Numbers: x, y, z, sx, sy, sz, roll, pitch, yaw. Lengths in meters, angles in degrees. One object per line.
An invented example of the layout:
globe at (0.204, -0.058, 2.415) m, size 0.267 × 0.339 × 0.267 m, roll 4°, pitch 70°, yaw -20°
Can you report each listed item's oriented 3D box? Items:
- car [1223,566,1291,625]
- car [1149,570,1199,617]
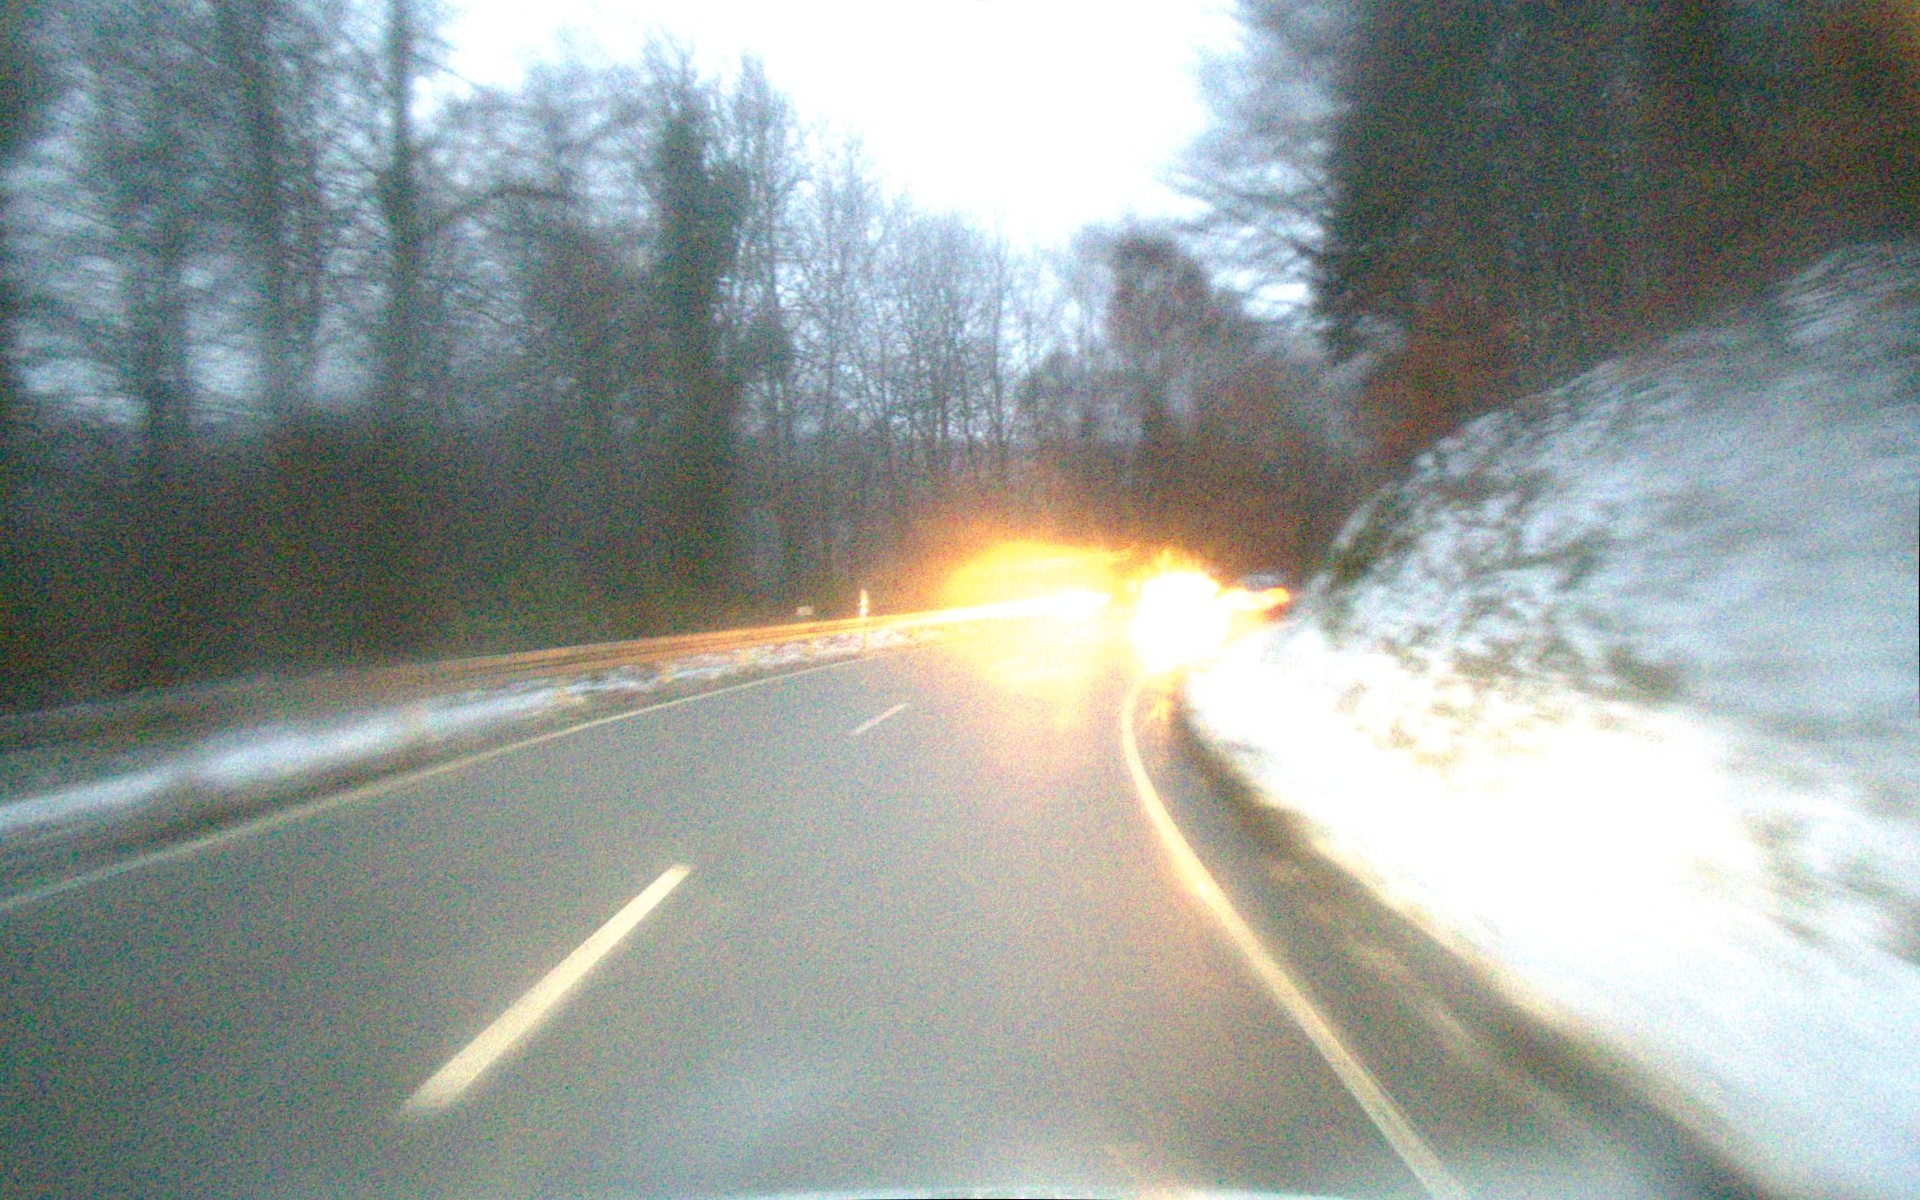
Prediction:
car at (10.188, -0.149, 56.531) m, size 1.951 × 1.905 × 4.003 m, roll -1°, pitch 0°, yaw 15°
car at (7.880, -0.244, 60.716) m, size 1.685 × 1.658 × 4.004 m, roll 1°, pitch 1°, yaw 9°
